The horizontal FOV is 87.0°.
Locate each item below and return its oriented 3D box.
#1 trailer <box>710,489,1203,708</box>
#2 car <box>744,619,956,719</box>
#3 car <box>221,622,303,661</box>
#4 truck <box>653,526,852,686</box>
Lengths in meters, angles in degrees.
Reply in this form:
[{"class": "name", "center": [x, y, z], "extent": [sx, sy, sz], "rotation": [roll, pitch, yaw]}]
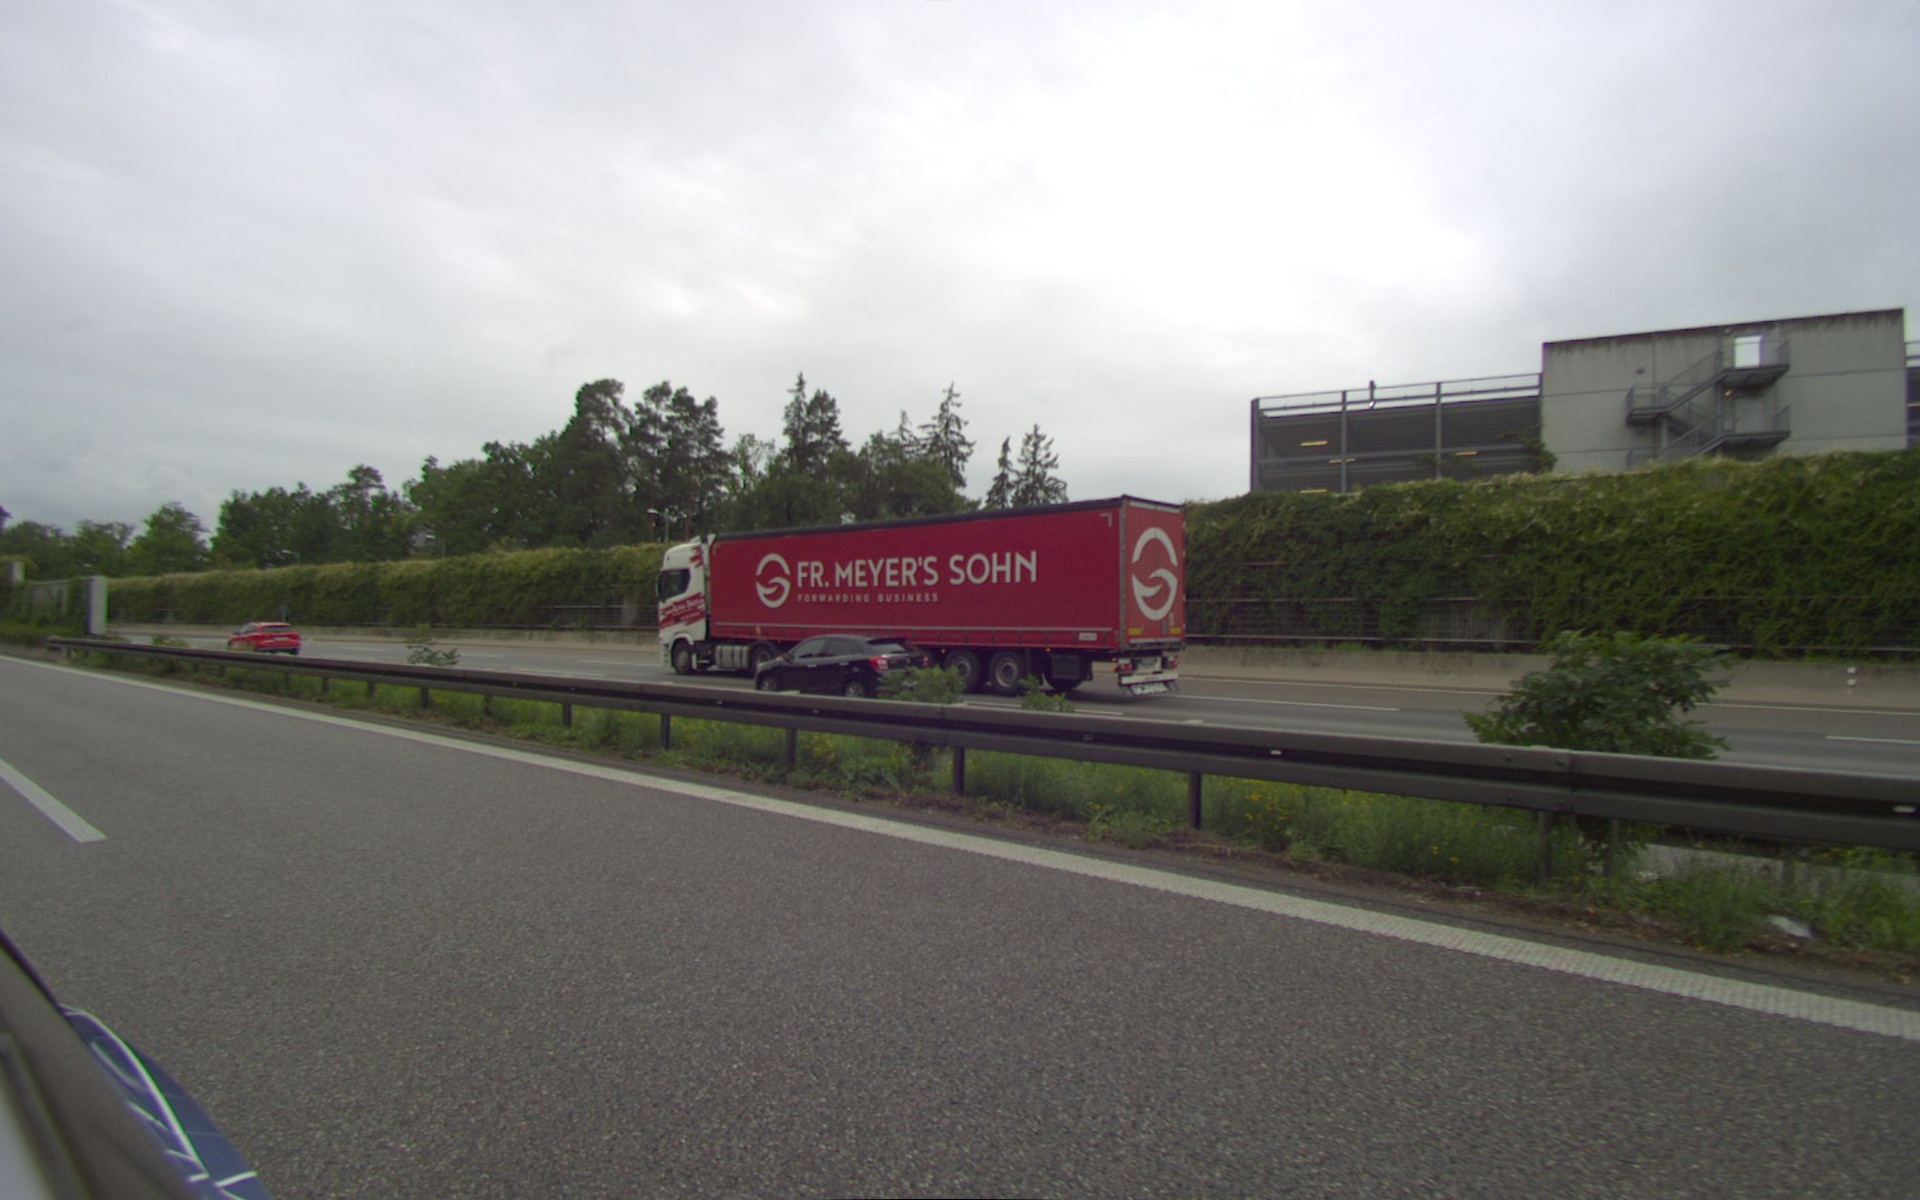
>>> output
[{"class": "trailer", "center": [-0.927, 0.079, 24.761], "extent": [13.680, 4.159, 2.716], "rotation": [-1, -1, 41]}, {"class": "car", "center": [-2.234, 1.259, 19.988], "extent": [3.997, 1.752, 1.973], "rotation": [-1, -1, 40]}, {"class": "car", "center": [-30.825, 1.811, 44.636], "extent": [4.713, 1.581, 1.754], "rotation": [0, -2, 40]}, {"class": "truck", "center": [-6.104, 0.206, 29.256], "extent": [5.914, 4.159, 2.640], "rotation": [-1, -1, 42]}]
